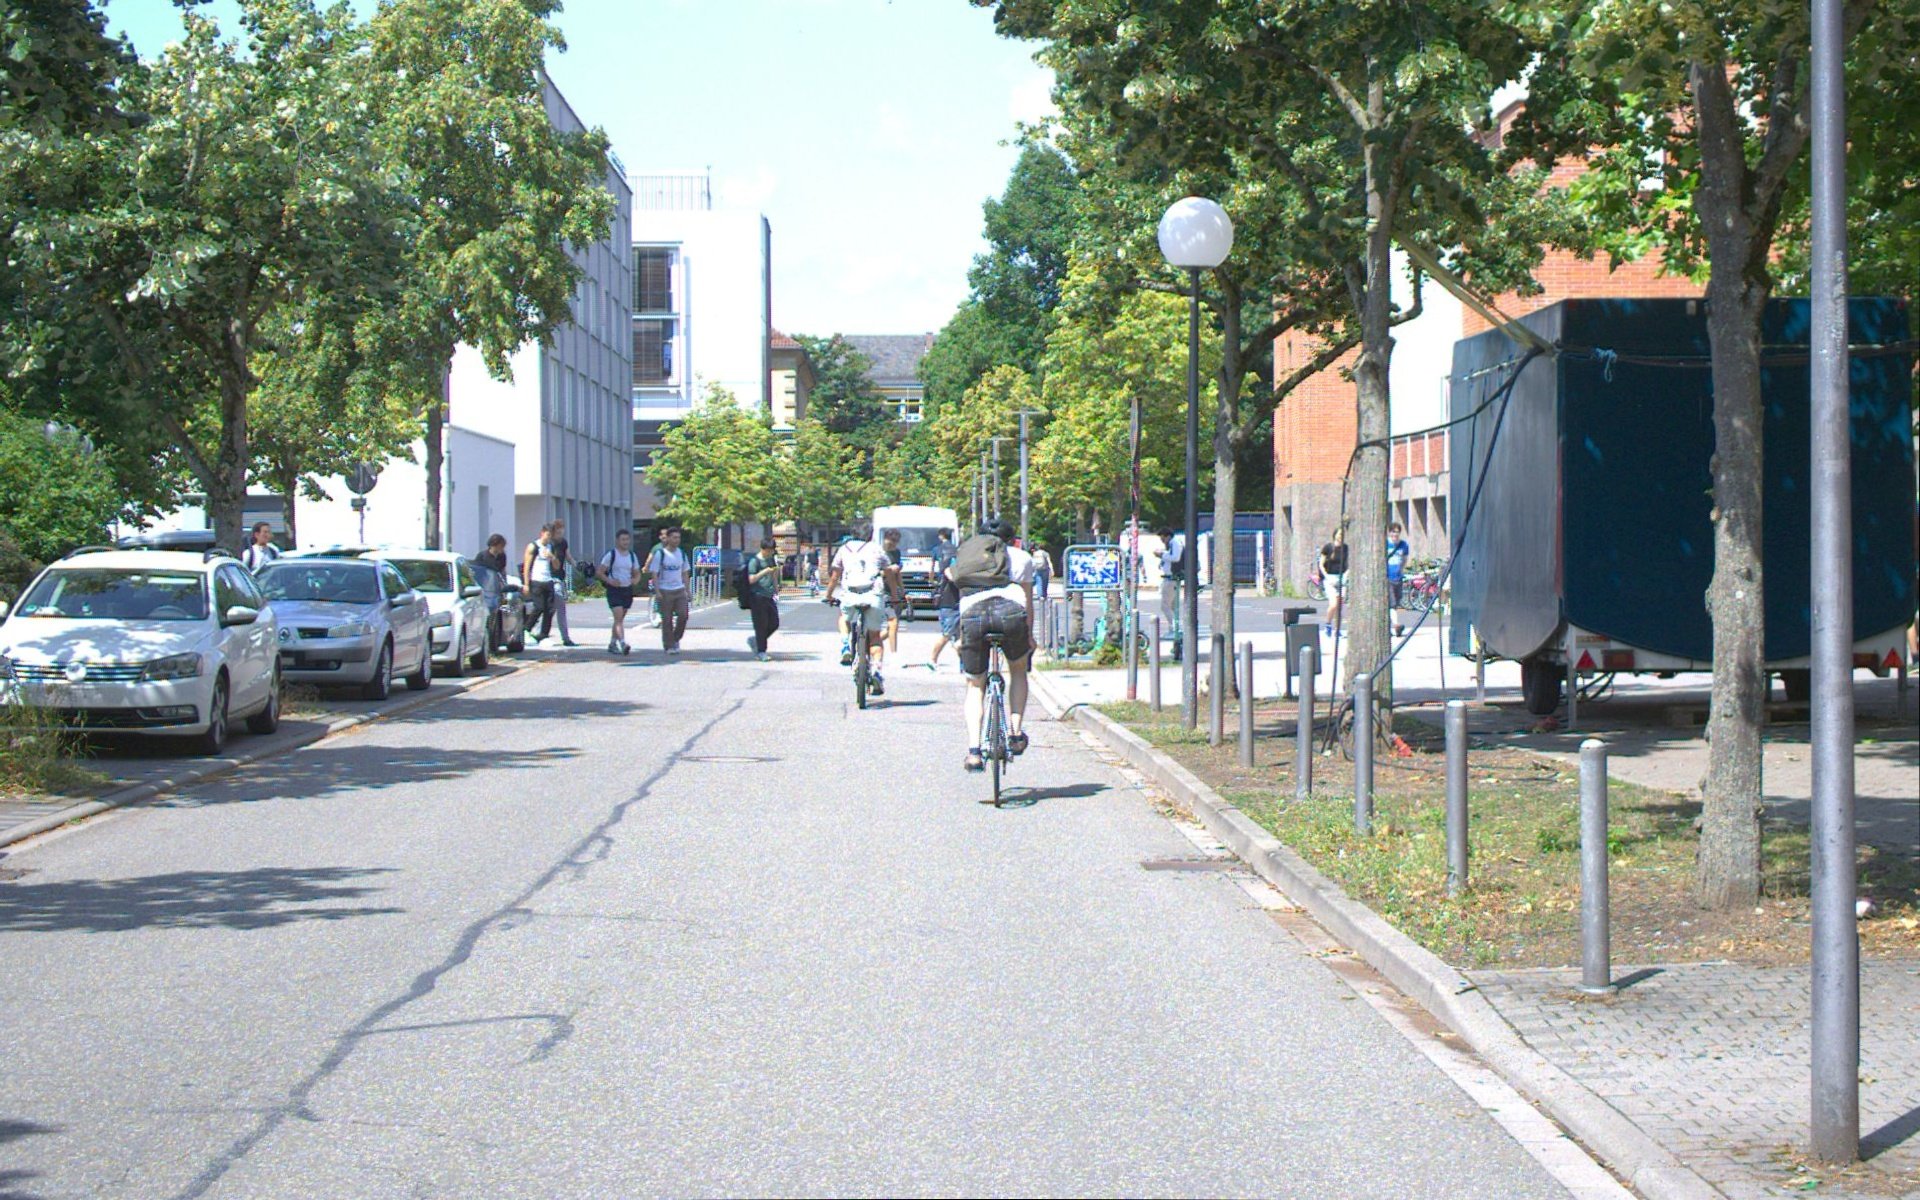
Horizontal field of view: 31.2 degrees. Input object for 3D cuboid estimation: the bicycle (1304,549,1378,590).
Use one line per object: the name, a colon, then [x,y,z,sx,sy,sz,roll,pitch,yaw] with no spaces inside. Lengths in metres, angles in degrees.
bicycle: [9.755,-0.787,88.047,1.809,0.981,0.560,-2,1,-1]

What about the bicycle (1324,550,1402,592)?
bicycle: [9.868,-0.708,84.177,1.809,0.981,0.560,-2,1,-1]

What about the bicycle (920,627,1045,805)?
bicycle: [0.153,0.676,20.842,0.706,0.990,1.910,1,0,2]

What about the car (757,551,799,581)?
car: [-9.461,-1.778,178.912,1.795,1.525,4.000,-1,1,3]

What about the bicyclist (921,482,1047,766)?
bicyclist: [0.154,0.137,20.728,0.717,1.656,1.095,1,0,2]

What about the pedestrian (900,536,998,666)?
pedestrian: [-0.136,0.004,43.145,0.848,1.589,0.830,-3,2,-44]

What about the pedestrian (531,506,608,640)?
pedestrian: [-5.883,-0.408,51.797,0.827,1.973,0.691,4,2,24]

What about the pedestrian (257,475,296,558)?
pedestrian: [-14.477,-1.761,72.792,0.693,1.743,0.636,0,0,0]

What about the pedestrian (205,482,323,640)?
pedestrian: [-7.881,-0.440,38.908,0.708,1.710,1.108,7,-4,-41]

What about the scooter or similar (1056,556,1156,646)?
scooter or similar: [2.080,0.009,49.067,1.263,1.260,0.638,0,1,31]

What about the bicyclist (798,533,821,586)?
bicyclist: [-4.734,-1.279,108.504,0.667,1.676,0.993,-1,1,-1]

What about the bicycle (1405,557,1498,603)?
bicycle: [10.198,-0.420,71.353,1.809,0.909,0.560,-2,1,-1]

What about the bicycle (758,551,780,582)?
bicycle: [-5.968,-1.054,107.631,0.677,0.961,2.003,-1,1,-3]

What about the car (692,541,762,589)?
car: [-7.608,-1.163,112.439,1.795,1.525,4.000,-1,1,3]

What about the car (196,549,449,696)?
car: [-6.370,0.184,34.776,1.725,1.339,4.165,2,1,0]

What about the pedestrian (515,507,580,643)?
pedestrian: [-6.105,-0.366,50.884,0.616,1.973,0.829,-1,0,-32]

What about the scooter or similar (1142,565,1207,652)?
scooter or similar: [2.923,0.108,46.709,0.649,1.156,1.264,0,1,14]

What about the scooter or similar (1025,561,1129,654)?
scooter or similar: [1.614,0.103,47.476,1.263,1.260,0.649,0,1,31]

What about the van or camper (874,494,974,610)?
van or camper: [-0.759,-1.027,75.648,1.993,2.437,4.569,-1,0,2]

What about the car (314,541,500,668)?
car: [-6.520,0.017,40.847,1.662,1.407,3.807,1,1,-1]

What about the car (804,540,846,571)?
car: [-7.027,-2.324,178.874,1.795,1.525,4.000,-1,1,3]

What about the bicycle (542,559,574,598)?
bicycle: [-10.563,-0.572,90.338,0.523,0.981,1.632,-2,1,3]

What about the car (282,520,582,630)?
car: [-8.789,-0.421,57.261,4.510,1.613,1.922,3,0,19]

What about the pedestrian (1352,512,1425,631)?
pedestrian: [6.634,-0.449,53.217,0.708,1.781,0.753,-6,3,-24]

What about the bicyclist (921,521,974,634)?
bicyclist: [-0.201,-0.358,53.815,0.808,1.750,0.692,1,0,0]

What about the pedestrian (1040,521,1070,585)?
pedestrian: [2.776,-1.370,100.598,0.790,1.853,1.026,-1,1,0]

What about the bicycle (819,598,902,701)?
bicycle: [-1.001,0.501,34.829,0.808,0.999,2.124,0,-1,-1]

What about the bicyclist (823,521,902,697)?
bicyclist: [-0.978,0.081,34.673,0.771,1.750,0.848,0,1,-1]

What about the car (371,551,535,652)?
car: [-6.892,-0.009,47.048,1.645,1.296,3.928,-1,1,0]

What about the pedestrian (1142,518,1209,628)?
pedestrian: [3.459,-0.444,55.147,0.959,1.688,0.704,2,3,9]

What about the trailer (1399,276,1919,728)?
trailer: [5.306,-0.725,26.753,2.691,3.041,6.258,-1,1,-2]

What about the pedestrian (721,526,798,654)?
pedestrian: [-2.754,-0.142,47.128,0.701,1.714,0.994,2,0,-24]

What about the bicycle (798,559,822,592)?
bicycle: [-4.710,-0.782,108.278,0.677,0.961,2.003,-3,2,-2]

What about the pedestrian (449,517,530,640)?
pedestrian: [-7.004,-0.326,51.181,0.802,1.766,0.853,4,2,24]

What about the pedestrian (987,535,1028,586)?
pedestrian: [1.953,-1.628,141.759,1.499,1.989,1.646,-3,2,-3]

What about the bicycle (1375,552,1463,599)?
bicycle: [9.995,-0.537,74.958,1.809,0.981,0.560,-2,1,-1]

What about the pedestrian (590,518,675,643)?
pedestrian: [-4.598,-0.272,48.252,0.983,1.733,0.699,0,0,40]

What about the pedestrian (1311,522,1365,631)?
pedestrian: [5.827,-0.368,53.002,0.501,1.625,0.571,-6,3,-24]

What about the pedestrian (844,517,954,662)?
pedestrian: [-0.804,-0.150,45.616,1.115,1.853,0.853,1,5,37]

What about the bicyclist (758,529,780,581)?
bicyclist: [-5.998,-1.411,107.765,0.643,1.596,0.909,-1,1,-3]

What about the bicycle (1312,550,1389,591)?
bicycle: [9.731,-0.738,85.710,1.809,0.981,0.560,-2,1,-1]

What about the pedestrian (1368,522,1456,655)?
pedestrian: [5.836,-0.156,44.467,0.875,1.632,0.949,-5,1,0]

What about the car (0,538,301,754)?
car: [-6.219,0.286,26.100,1.725,1.451,4.584,2,1,-3]

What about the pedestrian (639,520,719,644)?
pedestrian: [-3.999,-0.258,48.904,0.908,1.733,0.677,0,1,37]

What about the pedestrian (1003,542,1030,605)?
pedestrian: [1.685,-0.791,102.353,0.790,1.853,1.026,-1,1,0]

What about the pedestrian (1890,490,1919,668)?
pedestrian: [9.905,-0.224,35.200,0.594,1.790,0.407,-3,3,-4]
